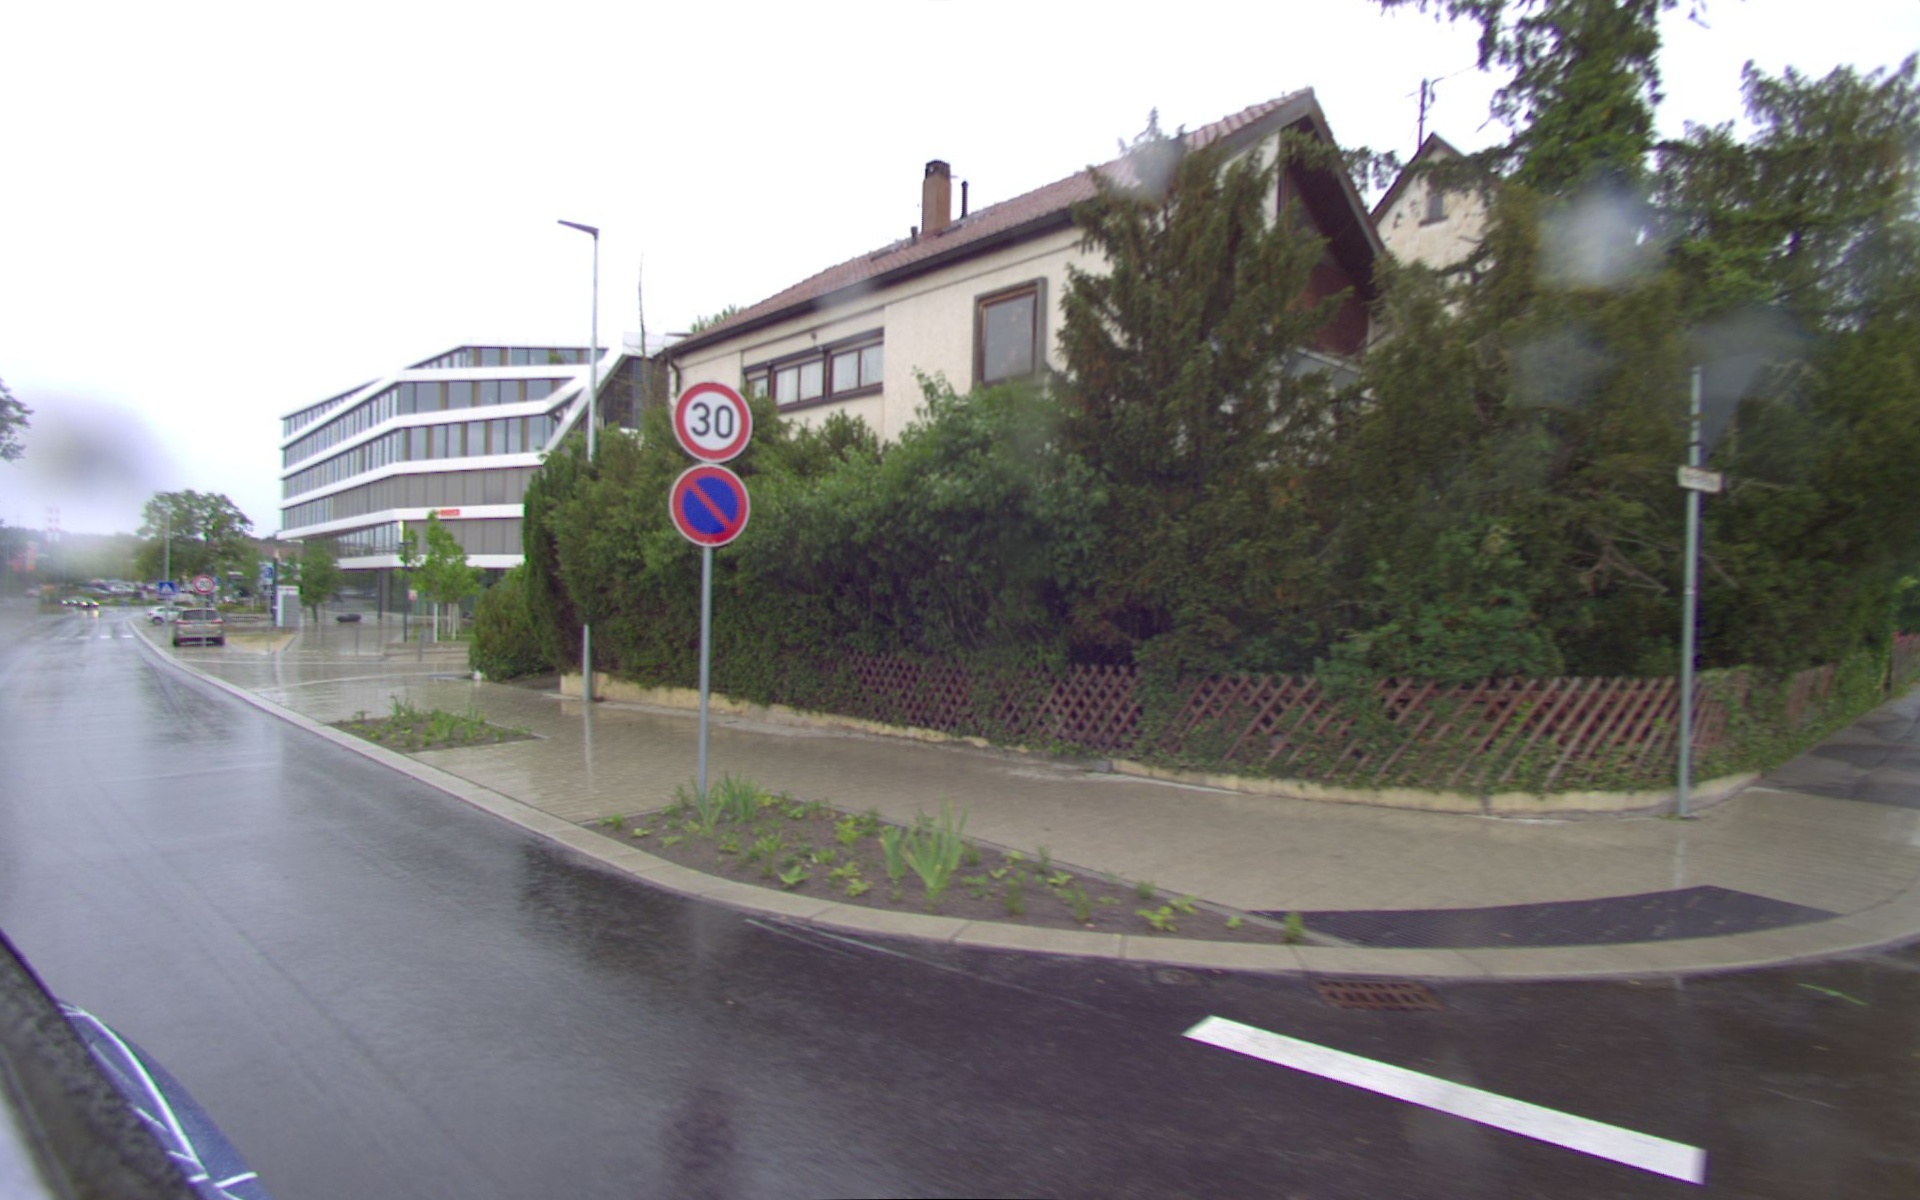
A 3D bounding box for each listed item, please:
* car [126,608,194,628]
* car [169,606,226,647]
[{"bbox_3d":[-63.179,1.421,80.032,4.102,1.430,2.005,-2,1,-37],"label":"car"},{"bbox_3d":[-33.866,1.146,44.921,1.814,1.719,4.331,1,-1,-39],"label":"car"}]
